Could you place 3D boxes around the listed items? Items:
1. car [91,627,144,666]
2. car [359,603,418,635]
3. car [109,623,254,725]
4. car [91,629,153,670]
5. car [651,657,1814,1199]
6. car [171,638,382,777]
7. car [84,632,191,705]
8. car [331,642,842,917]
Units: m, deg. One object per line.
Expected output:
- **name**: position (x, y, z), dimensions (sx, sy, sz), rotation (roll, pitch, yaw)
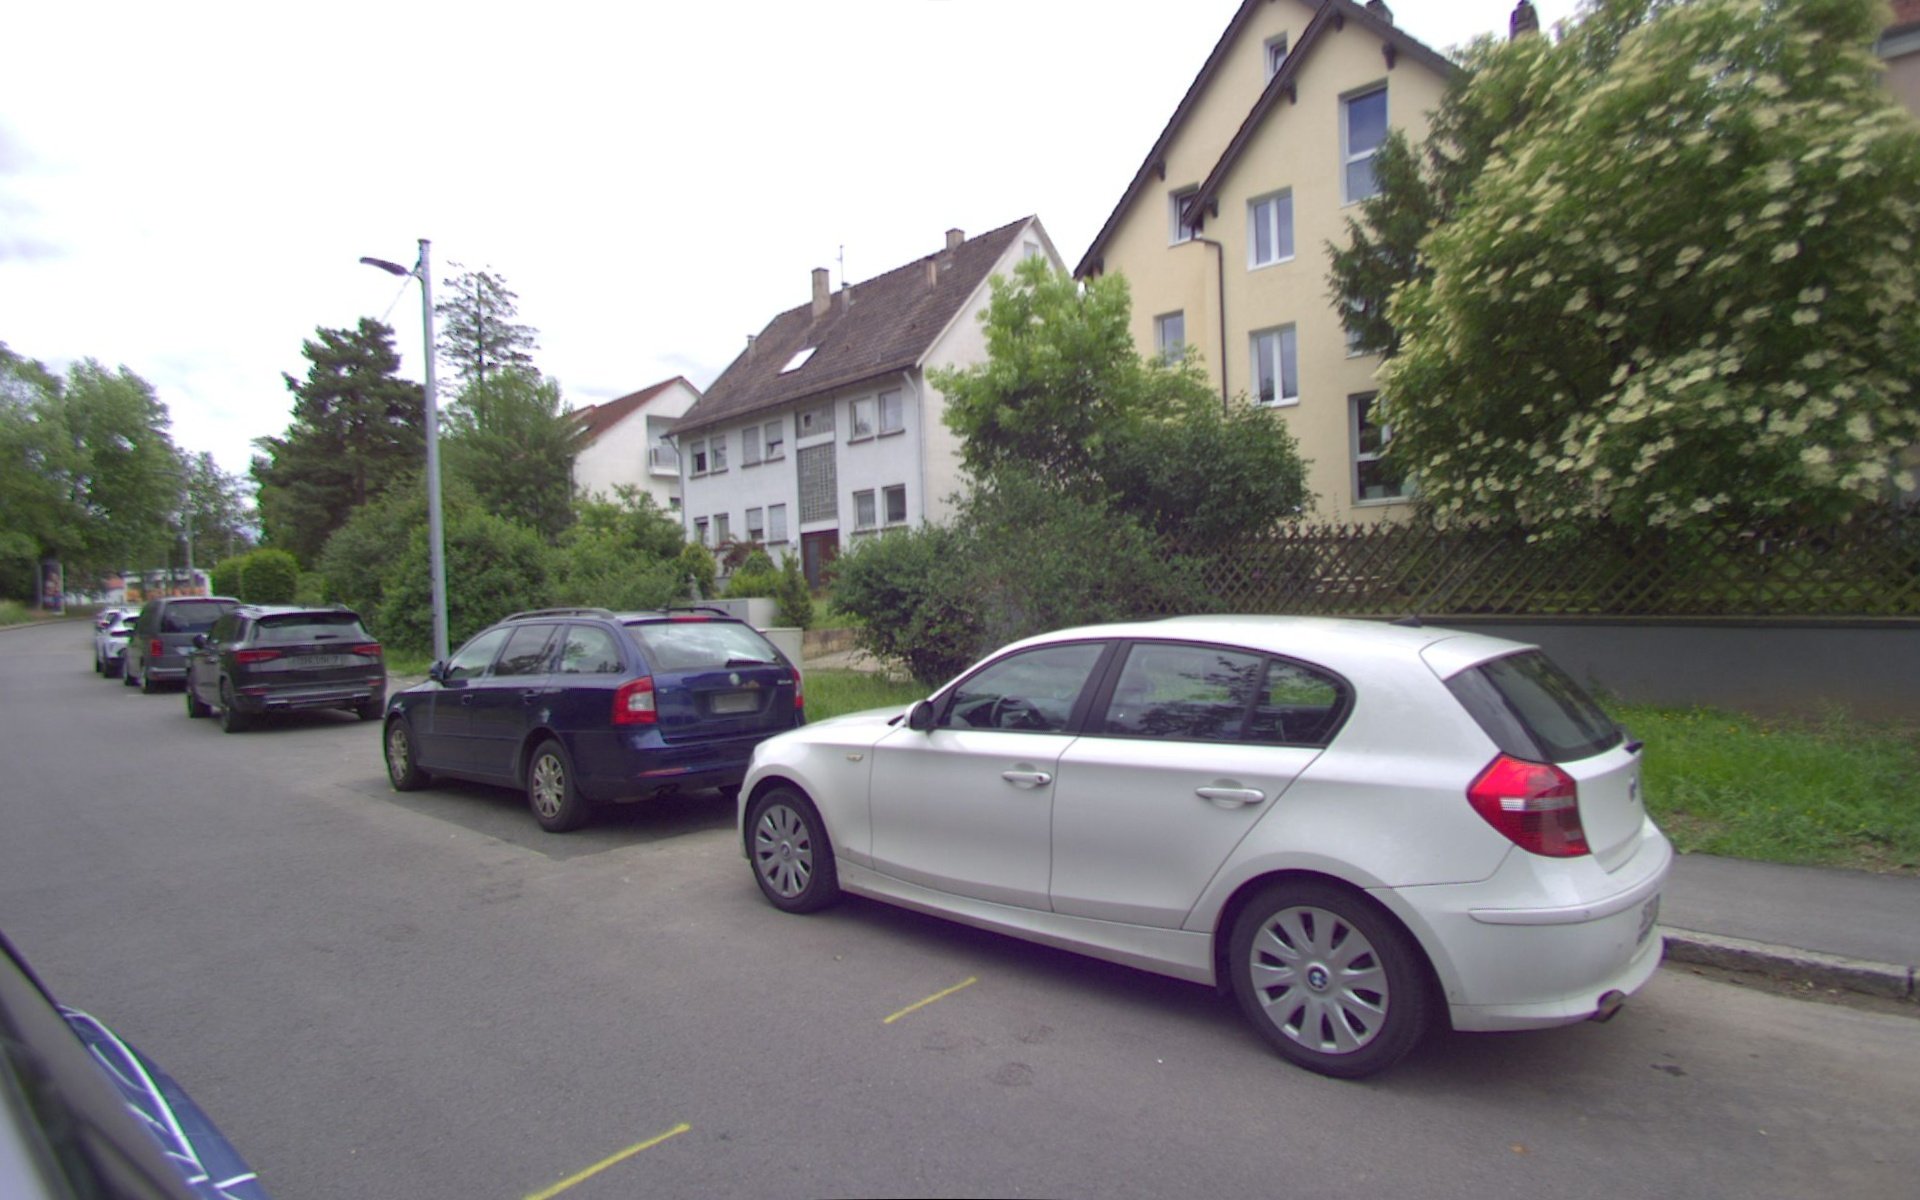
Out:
- **car**: position (-34.176, 1.850, 41.079), dimensions (1.581, 1.542, 3.594), rotation (1, -2, -39)
- **car**: position (-25.121, 0.871, 44.401), dimensions (1.625, 1.342, 3.911), rotation (2, -2, -39)
- **car**: position (-15.558, 1.374, 20.155), dimensions (1.775, 1.814, 4.066), rotation (1, -2, -45)
- **car**: position (-31.337, 1.819, 37.826), dimensions (1.711, 1.439, 3.463), rotation (1, -2, -41)
- **car**: position (0.677, 1.024, 4.493), dimensions (4.724, 1.400, 1.706), rotation (-1, -2, 41)
- **car**: position (-9.557, 1.345, 14.021), dimensions (4.079, 1.594, 1.643), rotation (-1, -2, 45)
- **car**: position (-19.425, 1.539, 23.835), dimensions (1.642, 1.517, 4.048), rotation (1, -2, -43)
- **car**: position (-3.214, 1.150, 8.108), dimensions (4.811, 1.585, 1.709), rotation (-3, -3, 40)
